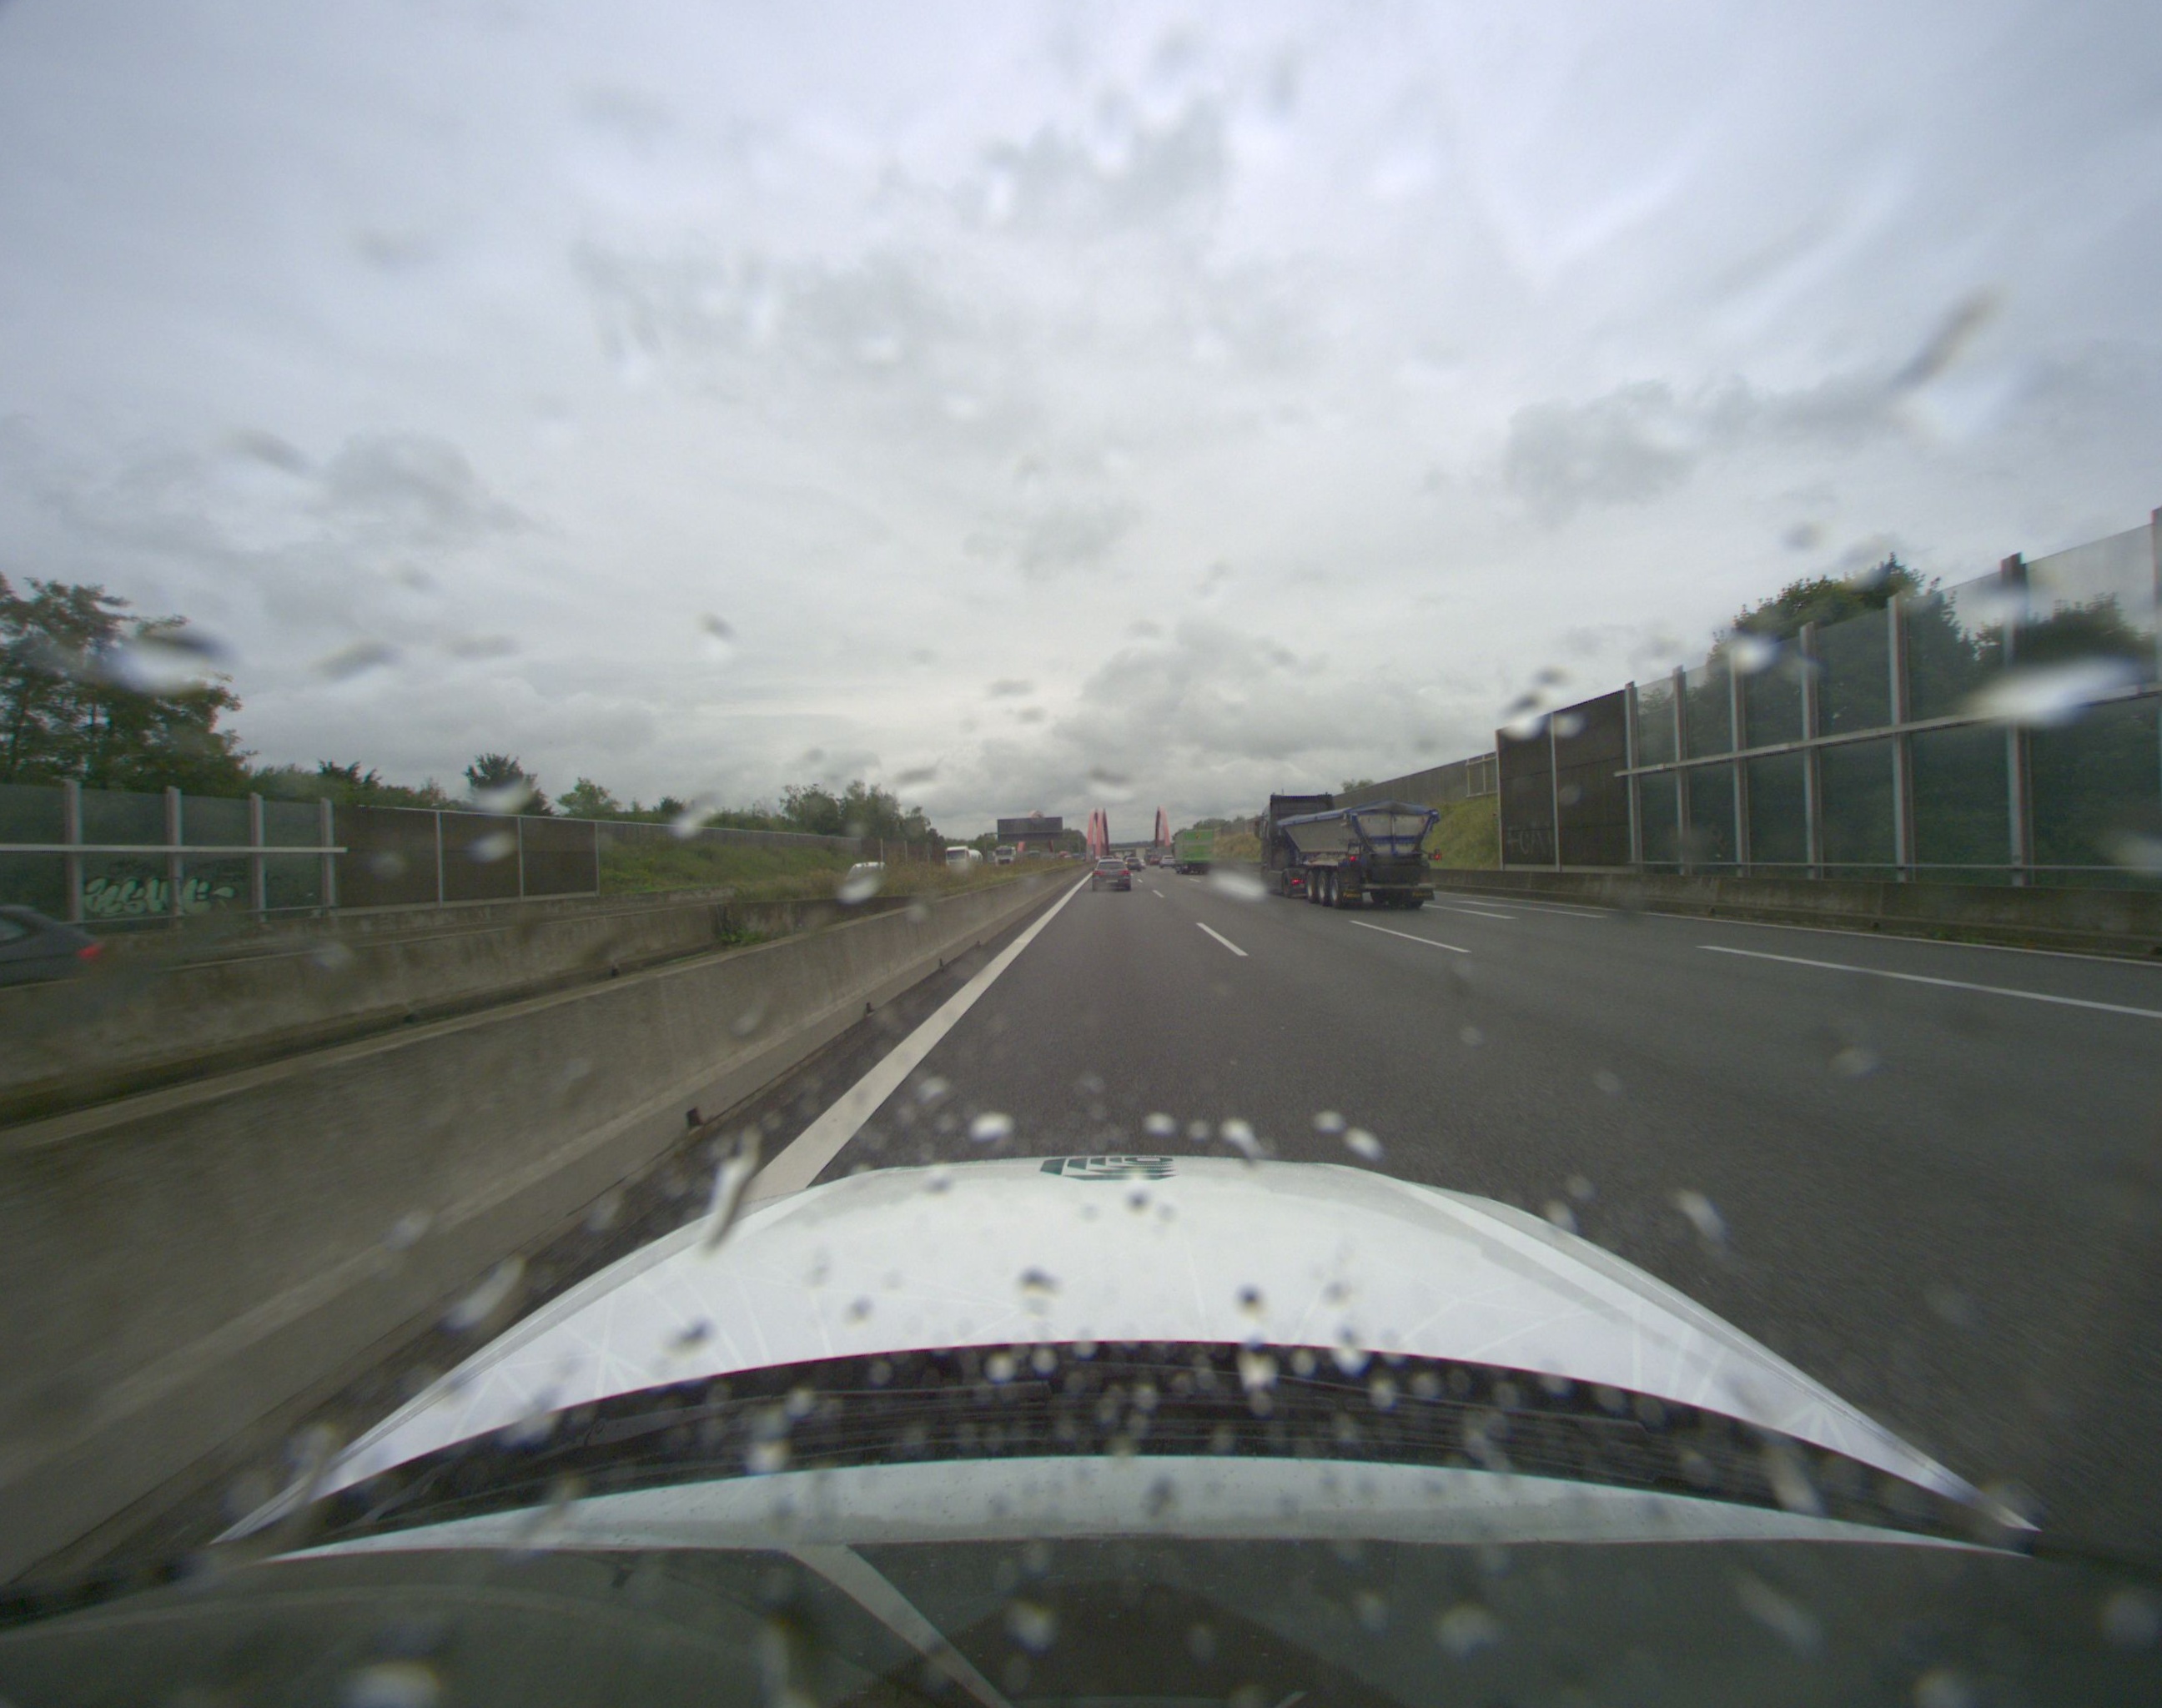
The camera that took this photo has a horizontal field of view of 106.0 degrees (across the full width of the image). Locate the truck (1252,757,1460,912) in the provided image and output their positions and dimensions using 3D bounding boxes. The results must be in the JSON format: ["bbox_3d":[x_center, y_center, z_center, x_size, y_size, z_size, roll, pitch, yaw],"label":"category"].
[{"bbox_3d":[8.460,-0.465,27.477,2.803,3.950,12.714,-1,0,1],"label":"truck"}]

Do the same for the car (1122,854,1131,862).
[{"bbox_3d":[11.174,0.994,200.718,1.985,1.815,4.003,-1,0,2],"label":"car"}]

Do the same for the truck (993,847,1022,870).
[{"bbox_3d":[-9.904,0.612,110.613,2.944,3.067,8.731,0,0,2],"label":"truck"}]

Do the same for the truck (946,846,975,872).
[{"bbox_3d":[-14.356,0.626,97.365,2.613,3.019,5.611,0,0,-1],"label":"truck"}]

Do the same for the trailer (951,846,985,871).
[{"bbox_3d":[-14.290,0.612,103.701,2.602,2.989,10.799,-1,0,1],"label":"trailer"}]

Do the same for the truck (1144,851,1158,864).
[{"bbox_3d":[13.157,0.645,152.496,2.351,2.506,6.148,-1,0,3],"label":"truck"}]

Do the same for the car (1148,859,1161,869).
[{"bbox_3d":[12.294,1.606,136.868,1.950,1.647,4.002,0,0,2],"label":"car"}]

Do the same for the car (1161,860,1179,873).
[{"bbox_3d":[11.581,1.572,106.415,1.986,1.619,5.330,0,0,2],"label":"car"}]

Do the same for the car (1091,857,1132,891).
[{"bbox_3d":[1.444,0.883,37.364,1.756,1.453,4.003,-1,0,3],"label":"car"}]

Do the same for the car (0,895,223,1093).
[{"bbox_3d":[-9.755,1.184,5.810,1.985,1.519,4.823,-1,0,3],"label":"car"}]

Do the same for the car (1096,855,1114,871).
[{"bbox_3d":[2.674,0.979,90.641,1.986,1.585,4.001,-2,0,1],"label":"car"}]

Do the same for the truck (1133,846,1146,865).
[{"bbox_3d":[15.309,0.458,213.675,3.032,4.734,7.685,0,0,3],"label":"truck"}]

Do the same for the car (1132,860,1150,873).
[{"bbox_3d":[7.335,1.536,99.504,1.986,1.486,4.002,-1,0,2],"label":"car"}]

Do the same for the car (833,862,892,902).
[{"bbox_3d":[-11.924,1.496,44.700,1.986,2.014,4.199,-1,0,2],"label":"car"}]

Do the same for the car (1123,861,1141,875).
[{"bbox_3d":[5.249,1.419,84.294,1.775,1.406,3.628,-1,0,2],"label":"car"}]

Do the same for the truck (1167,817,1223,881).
[{"bbox_3d":[9.965,-0.402,72.652,3.981,5.266,11.227,0,0,3],"label":"truck"}]
